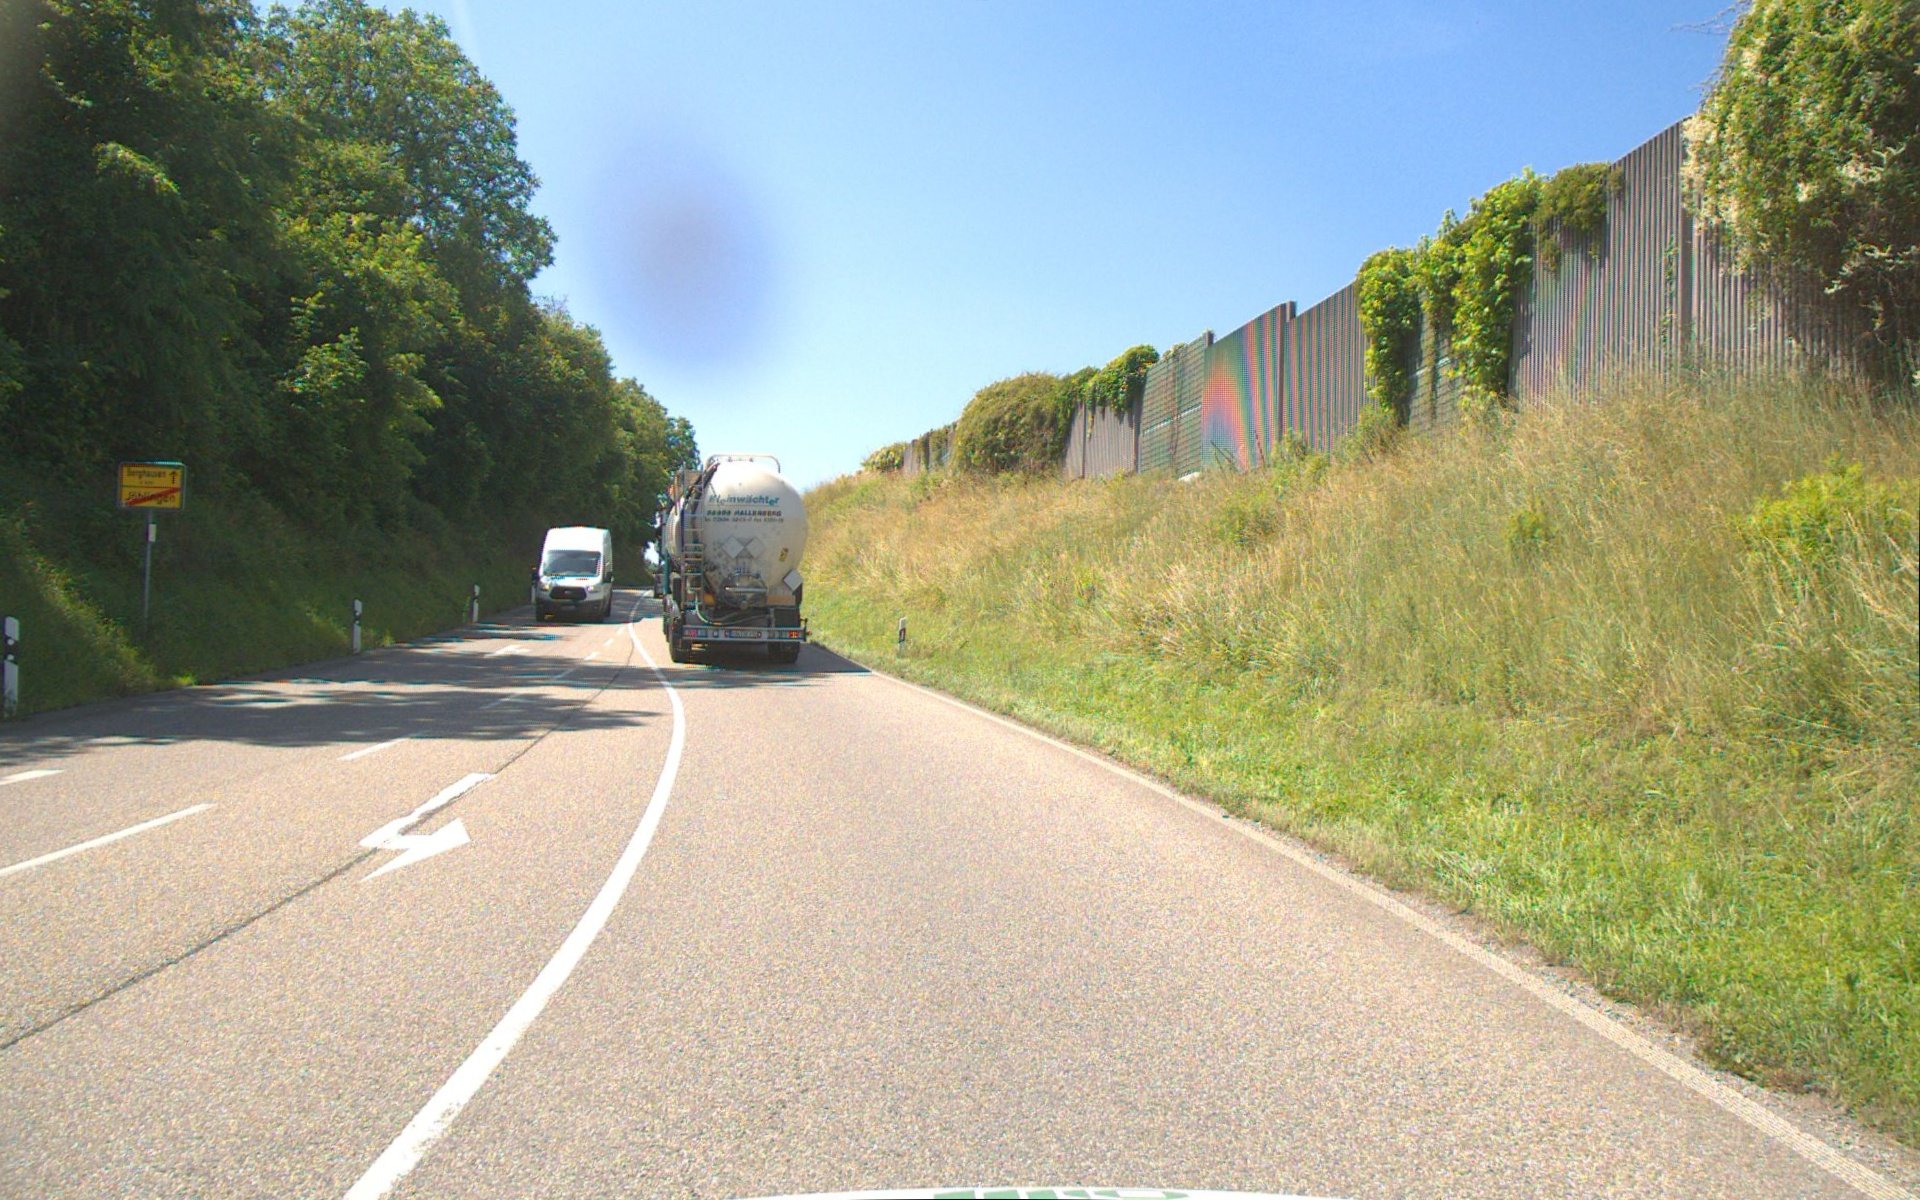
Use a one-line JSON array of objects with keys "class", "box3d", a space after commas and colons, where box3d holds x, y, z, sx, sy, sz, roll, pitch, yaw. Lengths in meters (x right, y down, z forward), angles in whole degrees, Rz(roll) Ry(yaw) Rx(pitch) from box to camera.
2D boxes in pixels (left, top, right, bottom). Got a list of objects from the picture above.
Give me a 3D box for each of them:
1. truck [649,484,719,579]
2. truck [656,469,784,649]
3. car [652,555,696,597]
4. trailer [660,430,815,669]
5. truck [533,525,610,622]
[{"class": "truck", "box3d": [-14.342, -3.507, 86.056, 3.132, 4.384, 11.776, 3, 1, -9]}, {"class": "truck", "box3d": [-6.072, -0.993, 40.930, 2.678, 3.998, 7.244, 2, 1, -11]}, {"class": "car", "box3d": [-11.931, -1.010, 68.905, 1.619, 1.535, 3.628, 2, 2, -12]}, {"class": "trailer", "box3d": [-5.060, -1.034, 35.719, 2.613, 4.261, 11.873, 1, 1, -11]}, {"class": "truck", "box3d": [-11.899, -0.869, 50.919, 2.017, 2.733, 5.965, 2, 1, -11]}]
